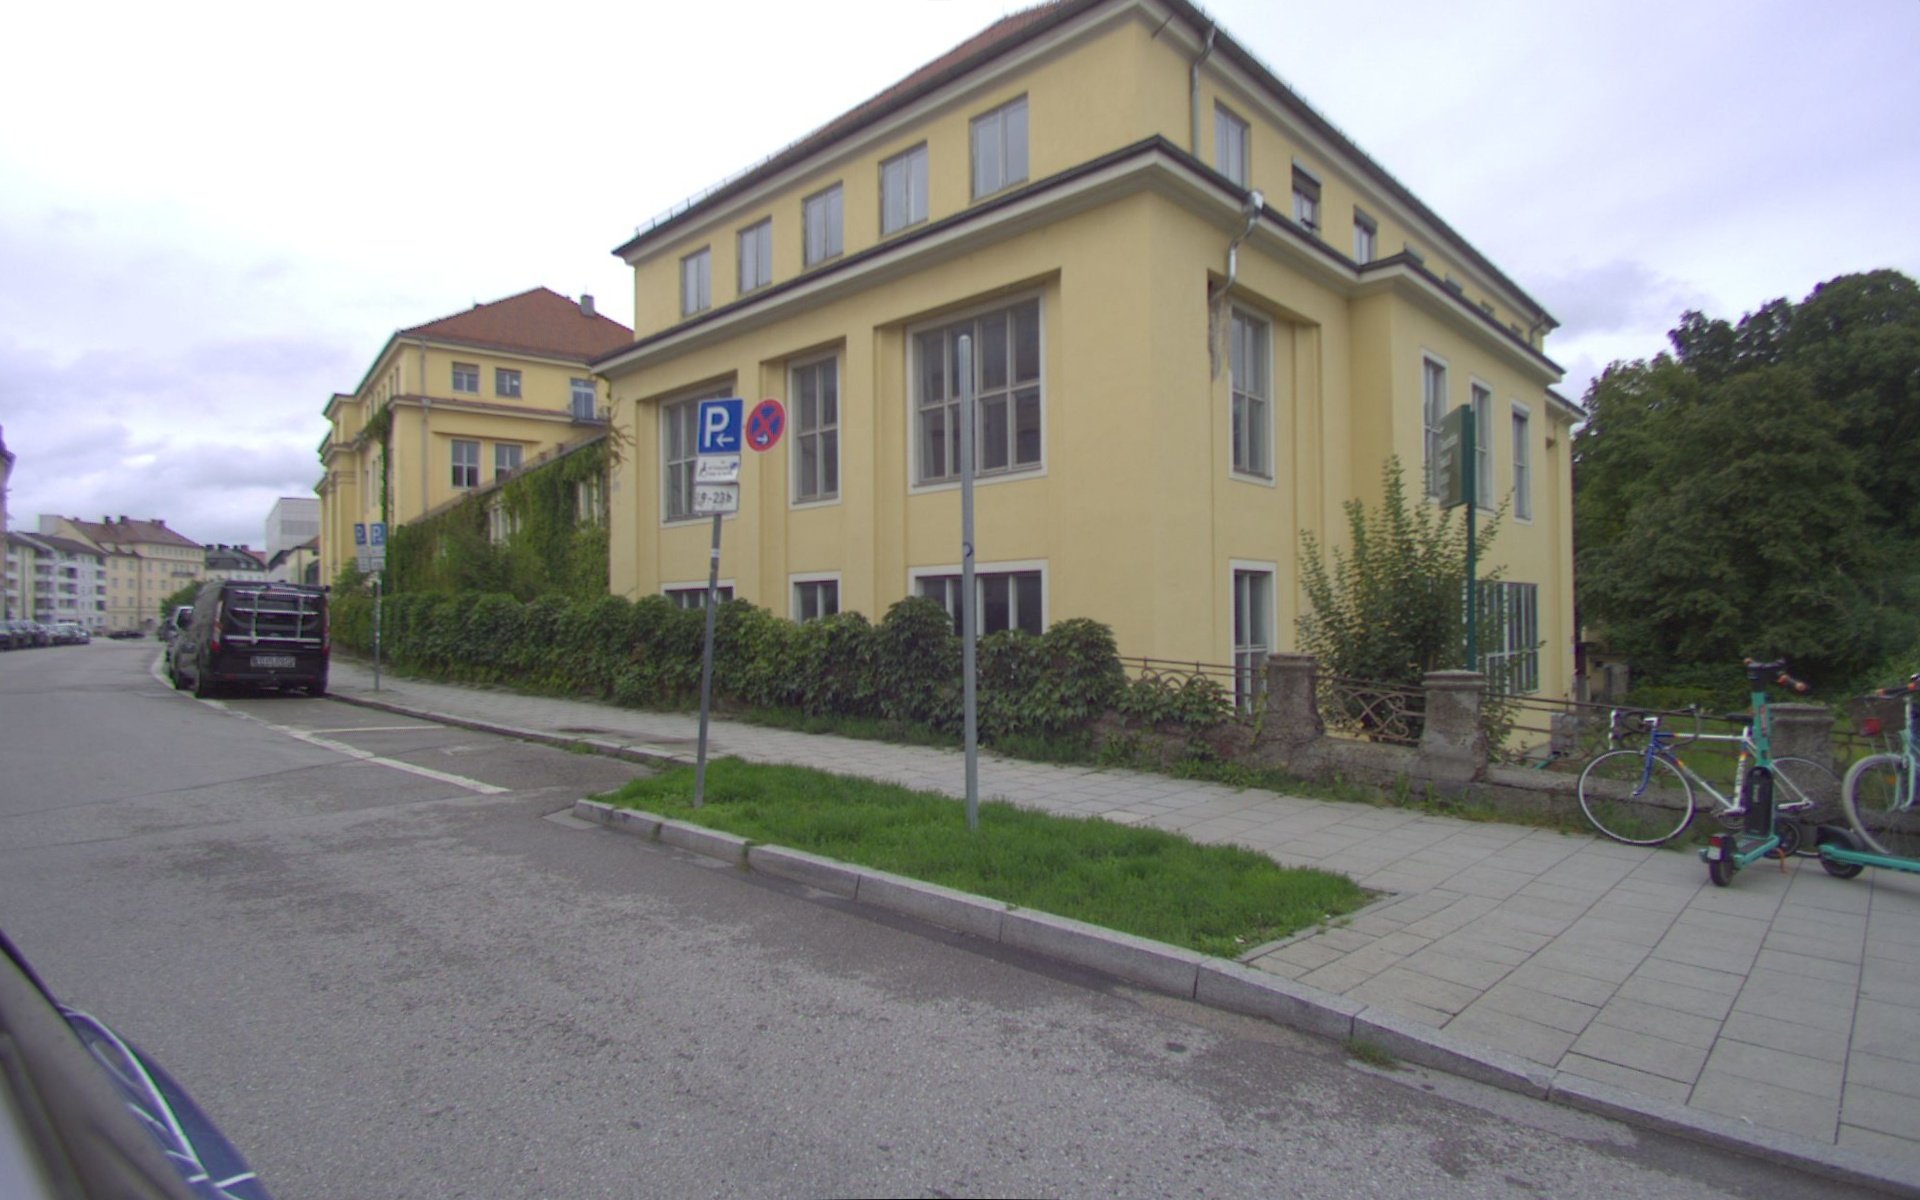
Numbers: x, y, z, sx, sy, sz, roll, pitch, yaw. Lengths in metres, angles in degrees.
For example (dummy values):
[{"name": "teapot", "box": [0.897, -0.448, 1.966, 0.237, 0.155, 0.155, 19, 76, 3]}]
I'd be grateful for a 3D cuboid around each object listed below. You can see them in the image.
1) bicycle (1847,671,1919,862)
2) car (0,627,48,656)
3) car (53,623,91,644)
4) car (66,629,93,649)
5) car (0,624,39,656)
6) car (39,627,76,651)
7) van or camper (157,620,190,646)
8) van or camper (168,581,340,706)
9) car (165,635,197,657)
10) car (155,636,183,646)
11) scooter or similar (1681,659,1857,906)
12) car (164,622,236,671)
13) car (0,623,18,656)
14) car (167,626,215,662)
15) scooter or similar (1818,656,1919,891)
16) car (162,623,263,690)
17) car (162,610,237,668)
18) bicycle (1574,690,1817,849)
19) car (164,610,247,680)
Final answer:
[{"name": "bicycle", "box": [6.586, 1.028, 6.323, 1.480, 1.143, 0.654, 0, -1, -1]}, {"name": "car", "box": [-52.187, 2.266, 56.332, 1.832, 1.556, 4.825, 1, -2, -39]}, {"name": "car", "box": [-63.925, 2.382, 72.906, 1.670, 1.462, 4.093, 0, -1, -36]}, {"name": "car", "box": [-74.503, 3.311, 85.680, 1.583, 1.655, 3.638, 2, -3, -39]}, {"name": "car", "box": [-49.198, 2.057, 52.478, 1.832, 1.556, 4.164, 1, -2, -39]}, {"name": "car", "box": [-60.408, 2.600, 67.812, 1.671, 1.595, 4.090, 2, -3, -40]}, {"name": "van or camper", "box": [-88.068, 3.761, 113.271, 2.111, 2.829, 5.575, 3, -4, -45]}, {"name": "van or camper", "box": [-13.483, 0.807, 19.210, 1.937, 2.081, 4.757, 2, -3, -44]}, {"name": "car", "box": [-54.180, 3.187, 70.370, 1.658, 1.507, 3.993, 3, -3, -38]}, {"name": "car", "box": [-145.017, 7.511, 185.485, 3.935, 1.874, 2.004, 2, -3, -37]}, {"name": "scooter or similar", "box": [4.604, 0.965, 5.744, 1.163, 1.229, 0.603, 4, -4, -42]}, {"name": "car", "box": [-23.762, 1.431, 31.617, 1.679, 1.433, 4.433, 2, -3, -38]}, {"name": "car", "box": [-46.308, 1.869, 48.156, 1.832, 1.556, 4.825, 1, -2, -39]}, {"name": "car", "box": [-33.398, 1.872, 43.930, 1.558, 1.466, 3.912, 1, -1, -39]}, {"name": "scooter or similar", "box": [5.307, 0.926, 5.341, 0.440, 1.229, 1.183, 2, -3, -8]}, {"name": "car", "box": [-17.141, 1.238, 23.145, 1.599, 1.388, 4.078, 1, -2, -40]}, {"name": "car", "box": [-26.767, 1.375, 35.656, 1.967, 1.890, 4.768, 2, -3, -37]}, {"name": "bicycle", "box": [4.817, 1.089, 6.700, 1.196, 0.930, 0.468, -1, -2, 21]}, {"name": "car", "box": [-20.422, 1.196, 27.317, 1.599, 1.743, 4.433, 2, -3, -39]}]
